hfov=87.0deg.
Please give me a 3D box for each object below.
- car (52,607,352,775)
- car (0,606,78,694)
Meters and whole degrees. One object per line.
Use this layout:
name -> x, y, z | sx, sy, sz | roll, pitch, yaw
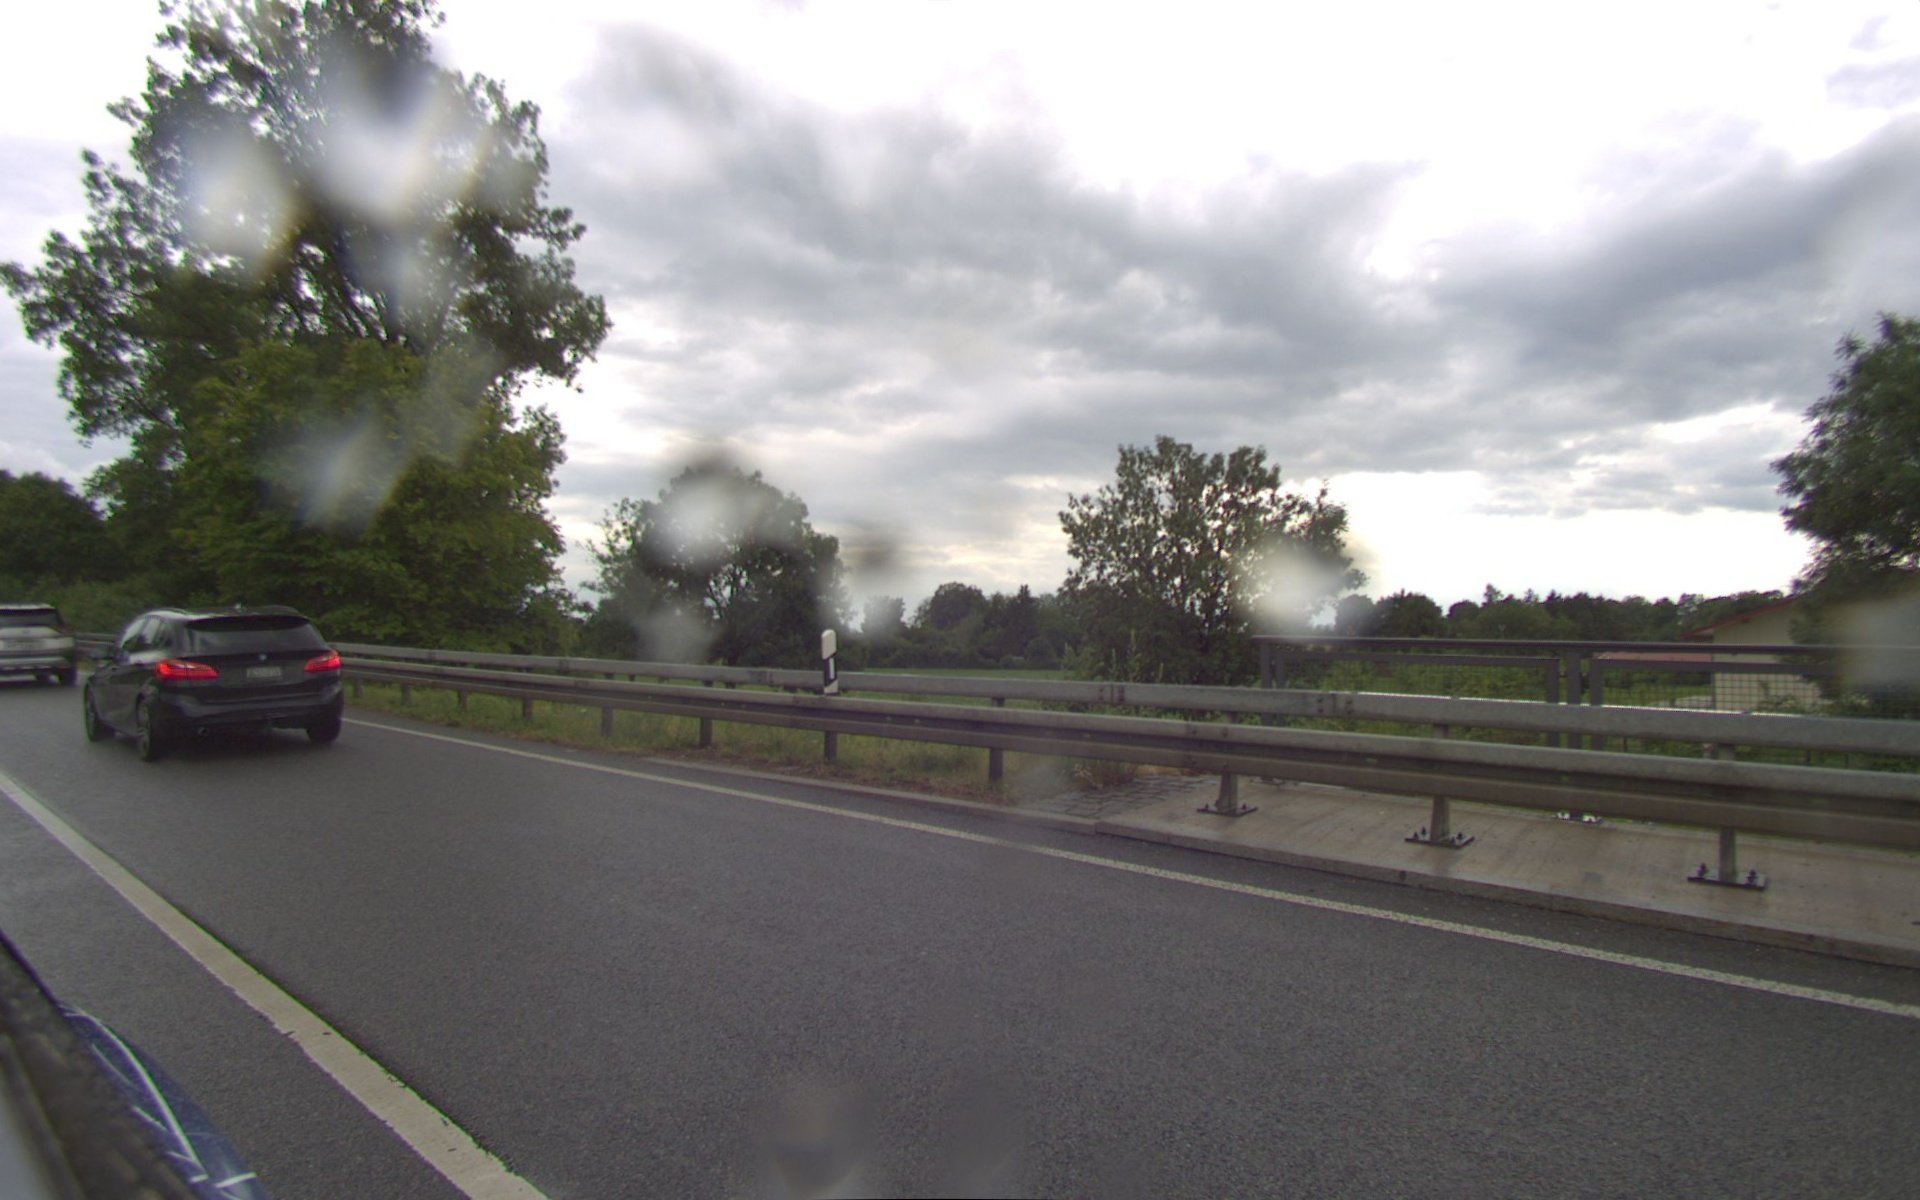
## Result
car -> -8.710, 0.903, 11.513 | 4.020, 1.553, 1.880 | -2, -1, 40
car -> -20.343, 1.047, 21.449 | 4.385, 1.713, 1.822 | -2, -1, 40
